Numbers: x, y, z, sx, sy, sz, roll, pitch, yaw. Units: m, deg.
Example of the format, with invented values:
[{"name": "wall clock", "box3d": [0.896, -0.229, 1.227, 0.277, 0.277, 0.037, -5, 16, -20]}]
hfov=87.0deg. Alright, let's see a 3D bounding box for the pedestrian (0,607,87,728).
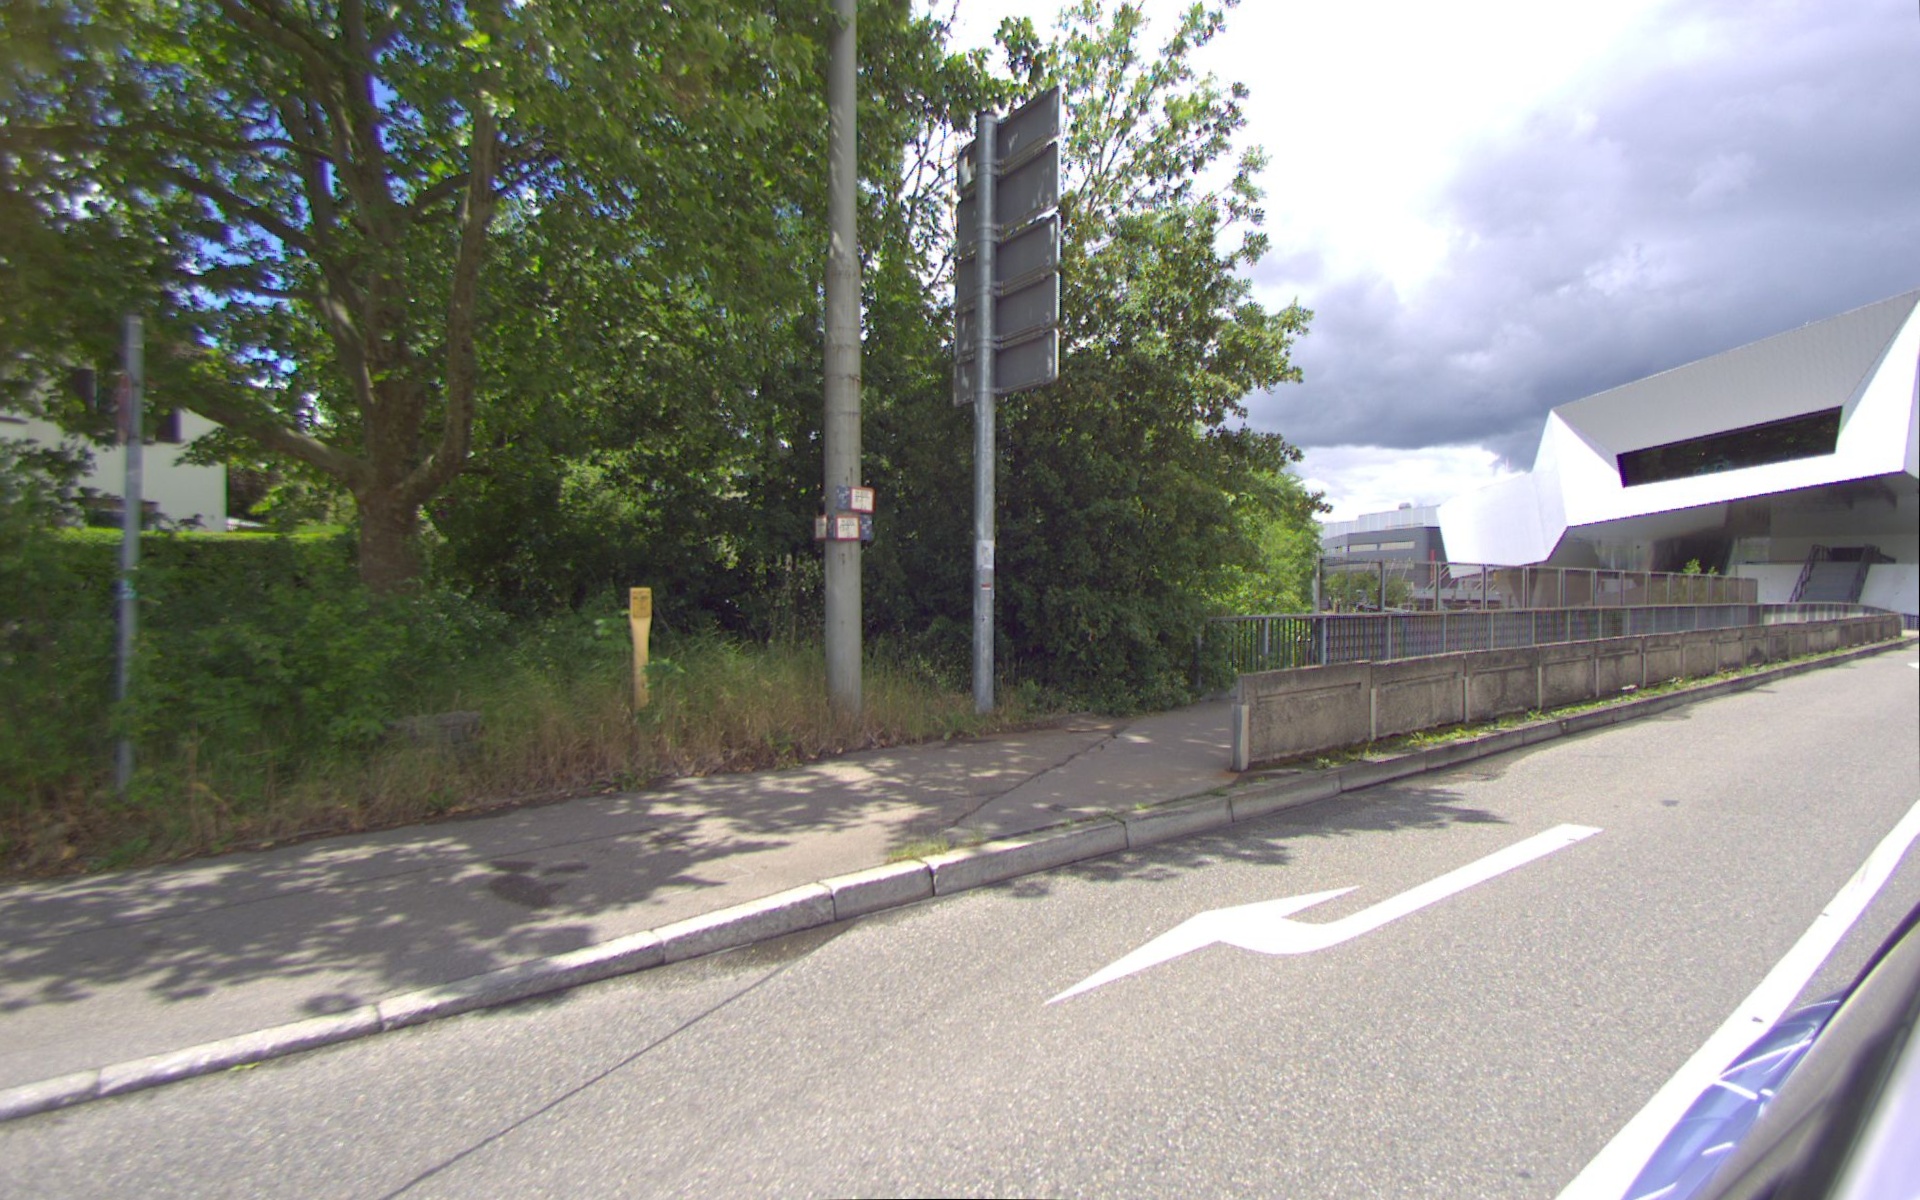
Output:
[{"name": "pedestrian", "box3d": [-9.992, 0.722, 11.046, 0.506, 1.262, 0.569, 2, 0, -22]}]
